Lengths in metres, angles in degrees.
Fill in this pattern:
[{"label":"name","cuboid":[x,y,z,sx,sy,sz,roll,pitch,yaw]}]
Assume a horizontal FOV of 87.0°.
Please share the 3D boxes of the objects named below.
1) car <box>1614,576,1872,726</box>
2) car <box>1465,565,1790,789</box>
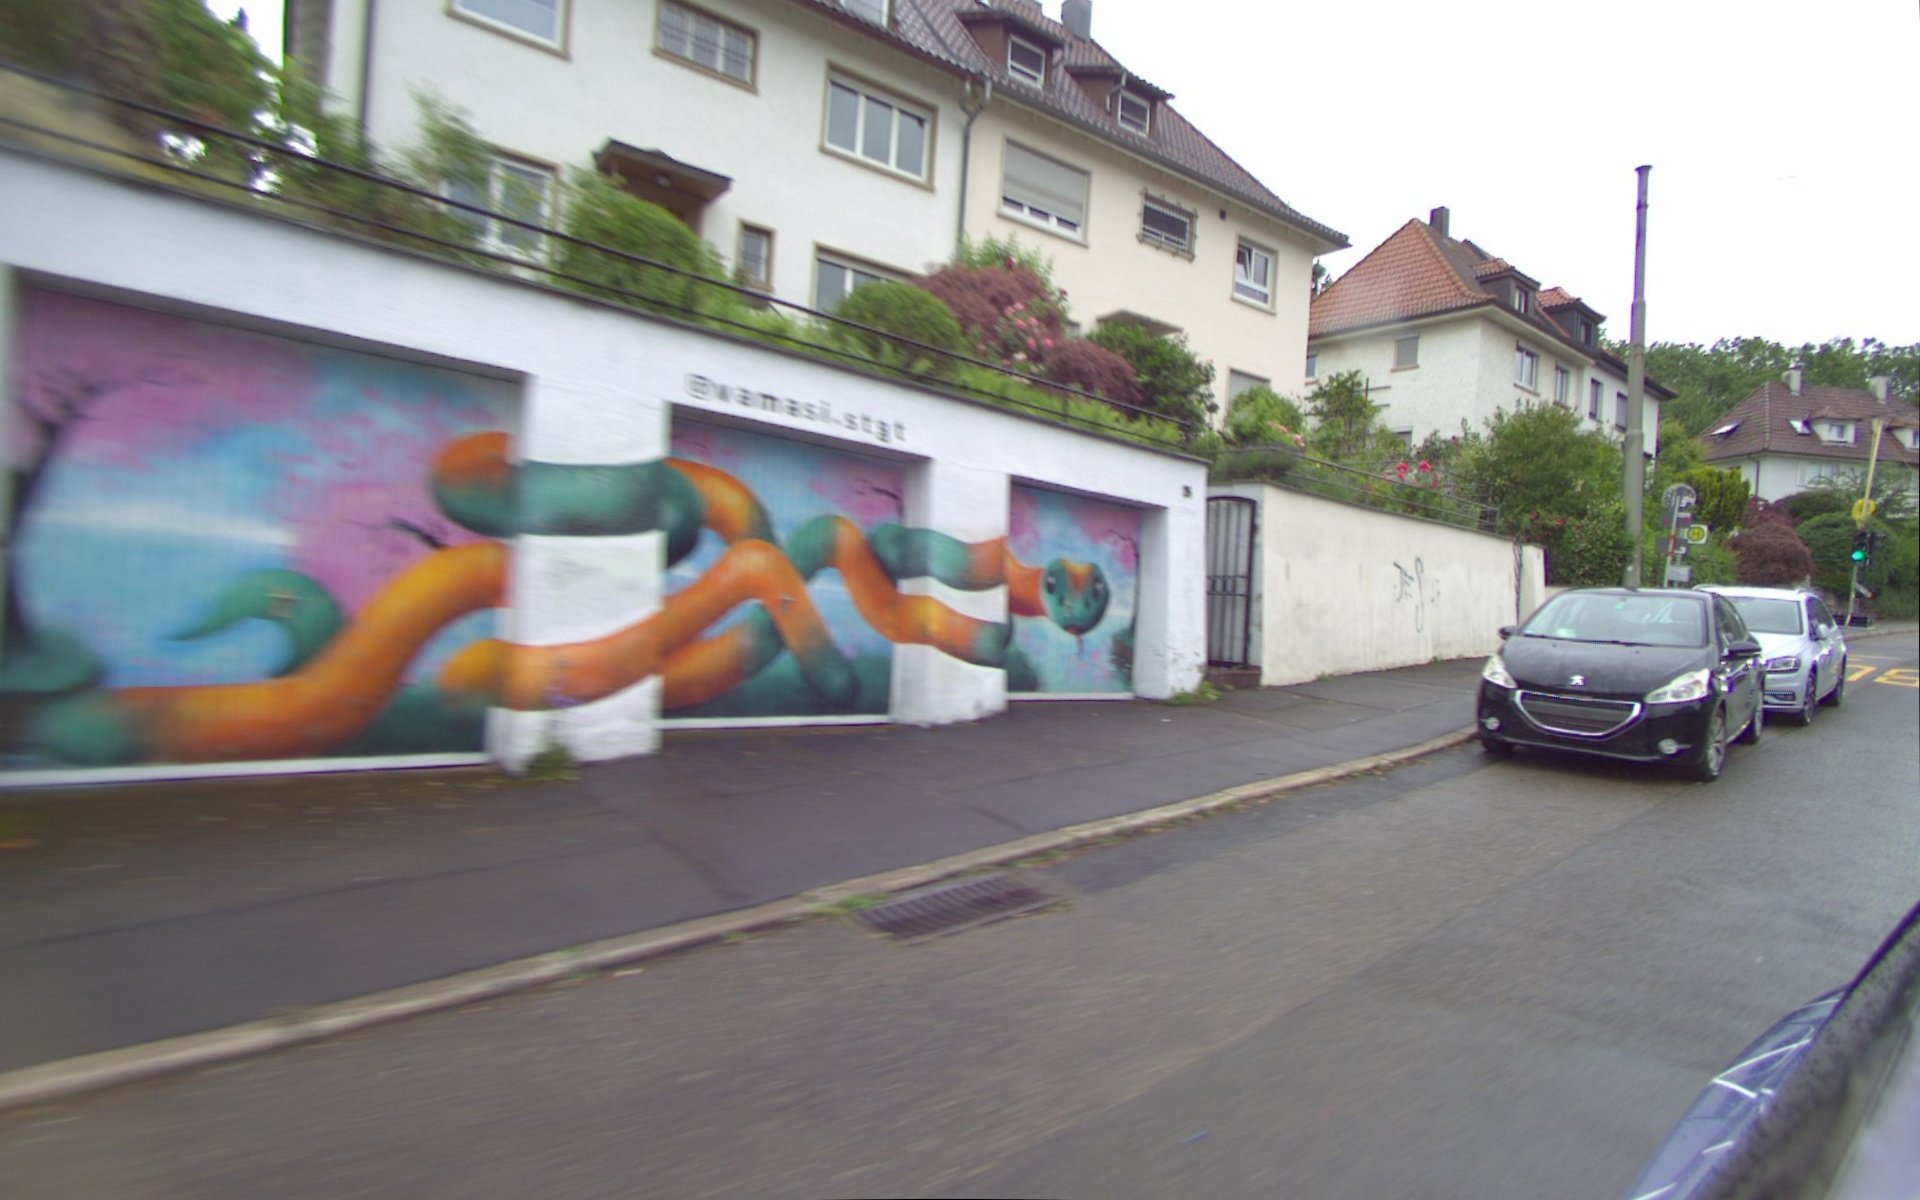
[{"label":"car","cuboid":[9.724,0.474,12.435,4.356,1.437,1.784,-1,4,-43]},{"label":"car","cuboid":[6.135,0.487,9.108,1.714,1.531,3.937,4,4,44]}]
